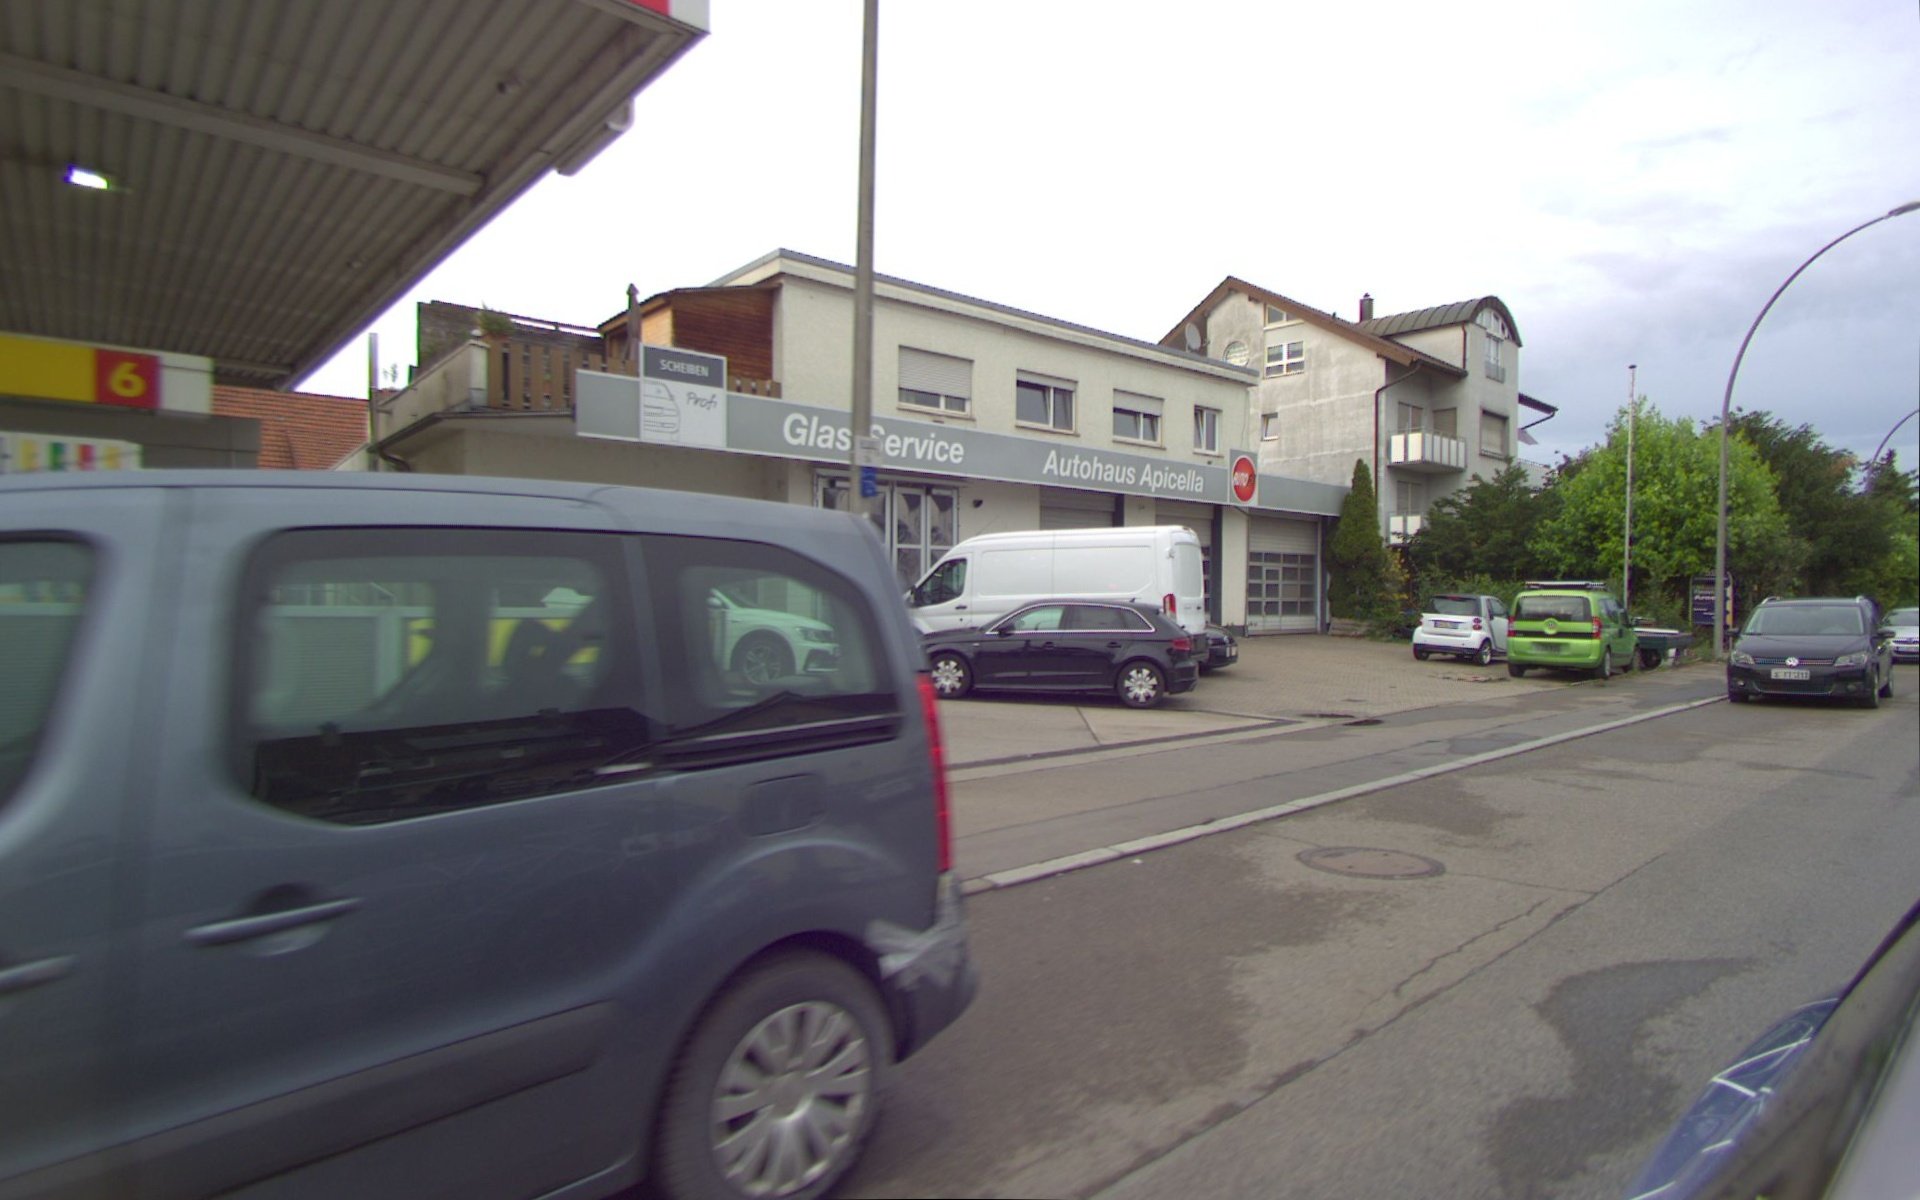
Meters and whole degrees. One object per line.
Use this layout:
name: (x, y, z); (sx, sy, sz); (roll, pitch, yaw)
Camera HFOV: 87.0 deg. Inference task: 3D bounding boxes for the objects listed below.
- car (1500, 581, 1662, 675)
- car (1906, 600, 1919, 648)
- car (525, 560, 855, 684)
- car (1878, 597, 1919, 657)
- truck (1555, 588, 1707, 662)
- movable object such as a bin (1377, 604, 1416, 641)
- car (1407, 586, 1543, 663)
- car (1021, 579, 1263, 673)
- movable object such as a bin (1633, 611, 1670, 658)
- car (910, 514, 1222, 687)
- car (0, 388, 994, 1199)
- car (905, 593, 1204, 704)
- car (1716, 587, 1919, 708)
car: (12.597, 0.495, 20.429); (1.994, 1.704, 3.936); (1, 0, 44)
car: (29.838, 0.707, 30.388); (3.654, 1.421, 1.740); (1, -2, -42)
car: (-3.813, 0.286, 14.838); (4.281, 1.662, 1.999); (0, 0, 3)
car: (25.796, 0.696, 26.738); (3.812, 1.521, 1.741); (1, -2, -40)
truck: (15.214, 0.521, 23.025); (1.300, 1.549, 2.565); (0, 1, -33)
movable object such as a bin: (13.161, 0.672, 30.514); (0.746, 1.092, 0.859); (-1, 0, -42)
car: (12.092, 0.526, 23.655); (1.748, 1.538, 3.672); (5, 3, 44)
car: (3.392, 0.410, 19.422); (1.866, 1.593, 4.304); (1, 0, -44)
movable object such as a bin: (16.302, 0.803, 23.858); (0.670, 1.088, 0.575); (0, 0, -42)
car: (1.762, -0.030, 17.031); (4.759, 2.552, 2.226); (1, 0, 28)
car: (-2.090, 0.592, 1.950); (4.368, 1.761, 1.658); (0, -2, -42)
car: (1.330, 0.618, 14.191); (3.935, 1.392, 1.775); (0, 1, 10)
car: (13.538, 0.650, 15.877); (3.932, 1.616, 1.996); (1, 1, -43)
